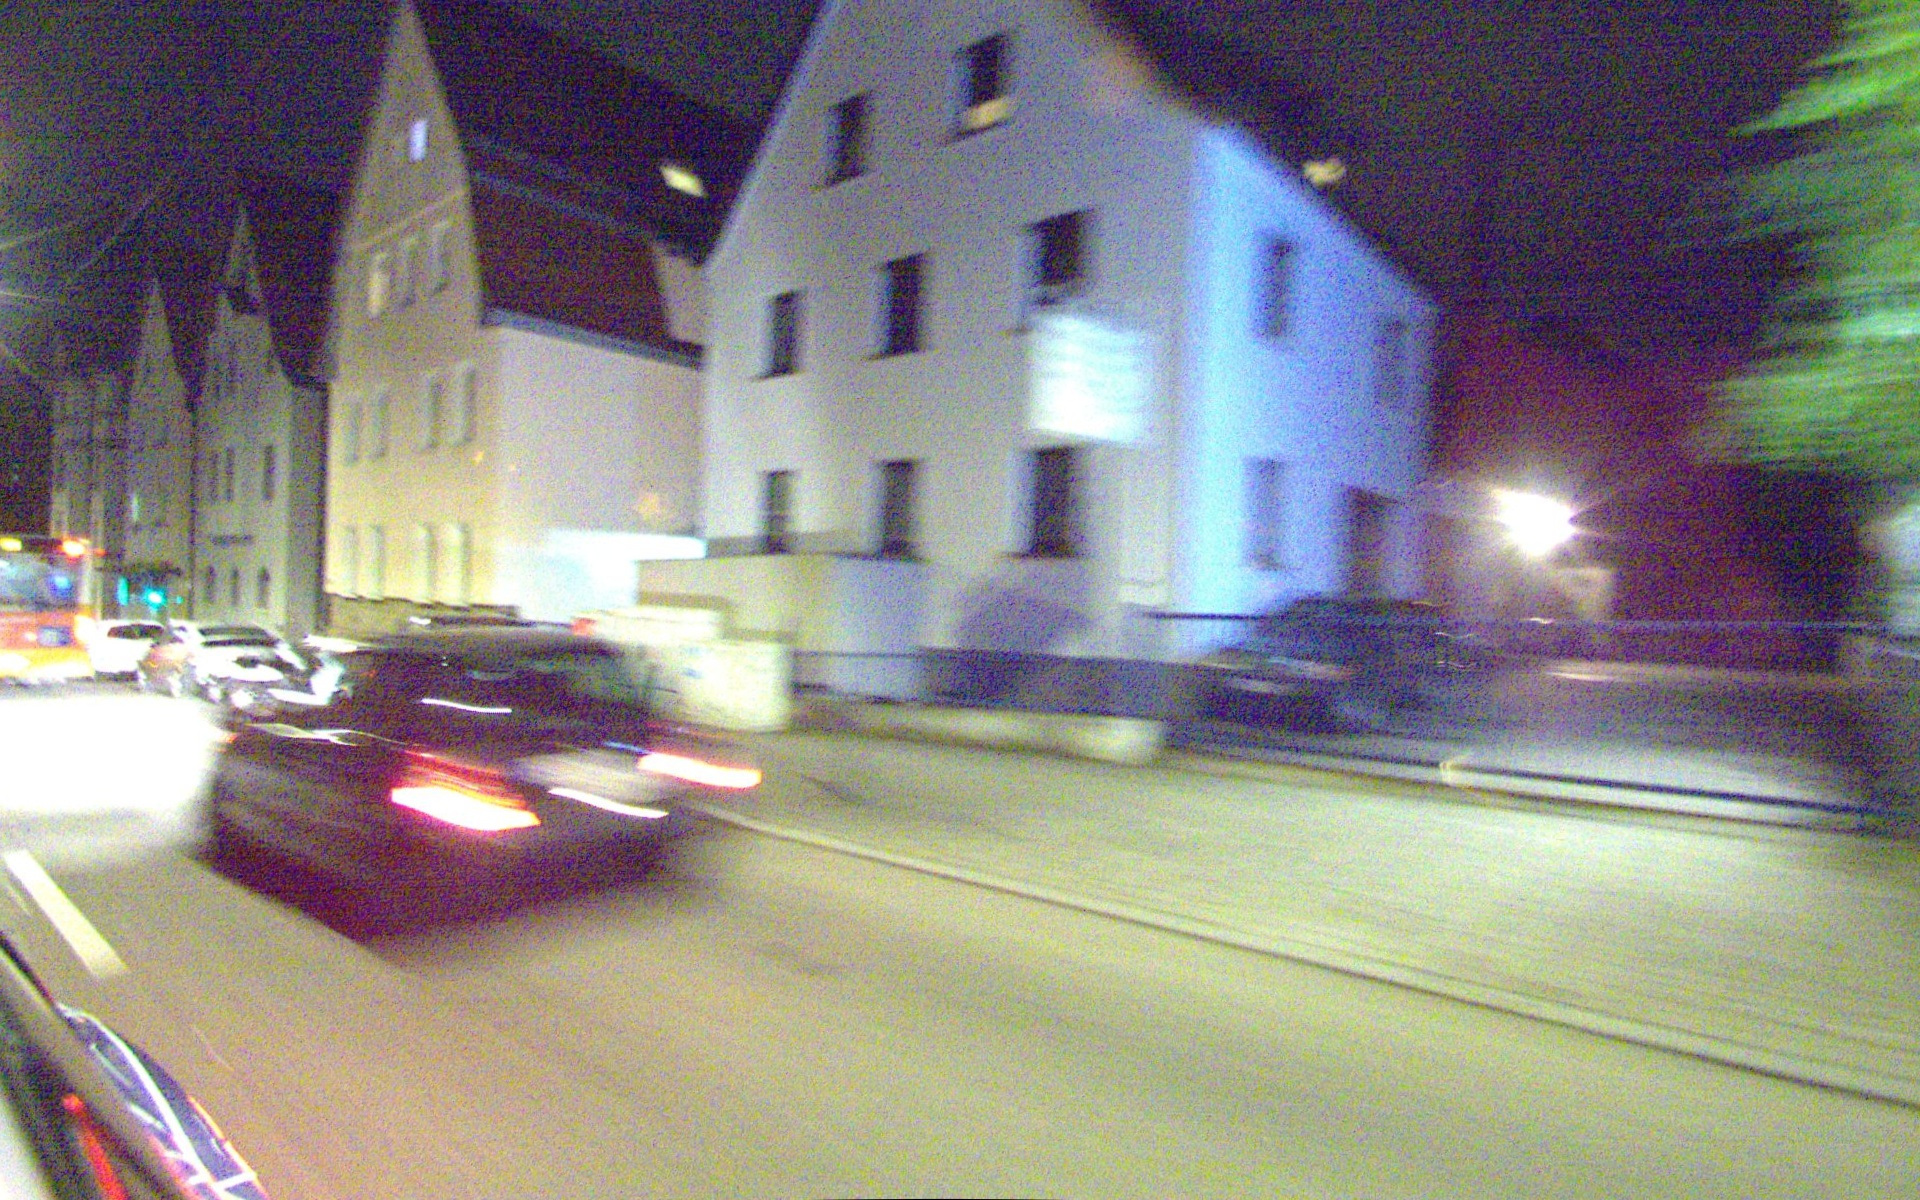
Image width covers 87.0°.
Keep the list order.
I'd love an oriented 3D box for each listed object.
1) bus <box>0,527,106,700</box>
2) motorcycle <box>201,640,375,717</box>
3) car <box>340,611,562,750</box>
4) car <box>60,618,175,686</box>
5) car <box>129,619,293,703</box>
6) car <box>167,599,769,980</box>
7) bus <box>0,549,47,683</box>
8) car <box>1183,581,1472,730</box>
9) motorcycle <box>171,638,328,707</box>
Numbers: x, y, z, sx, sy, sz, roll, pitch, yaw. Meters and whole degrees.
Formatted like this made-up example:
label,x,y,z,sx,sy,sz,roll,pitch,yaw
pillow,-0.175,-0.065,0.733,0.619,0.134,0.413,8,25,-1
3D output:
label,x,y,z,sx,sy,sz,roll,pitch,yaw
bus,-20.540,0.314,21.335,7.657,3.201,2.808,-1,-1,42
motorcycle,-10.581,1.215,16.019,2.171,1.139,0.718,0,-2,-16
car,-6.411,0.900,12.667,2.765,1.509,1.621,0,-1,43
car,-21.183,1.240,25.404,3.778,1.503,1.605,0,0,40
car,-14.975,1.156,20.163,4.225,1.503,1.686,-1,-3,40
car,-2.952,0.762,5.705,3.867,1.433,1.629,-2,-2,40
bus,-27.359,0.478,27.351,10.493,3.201,2.808,-1,-1,41
car,4.636,0.553,12.424,1.873,1.516,4.180,0,0,43
motorcycle,-12.198,1.239,17.428,2.177,1.156,0.716,0,-2,-1
